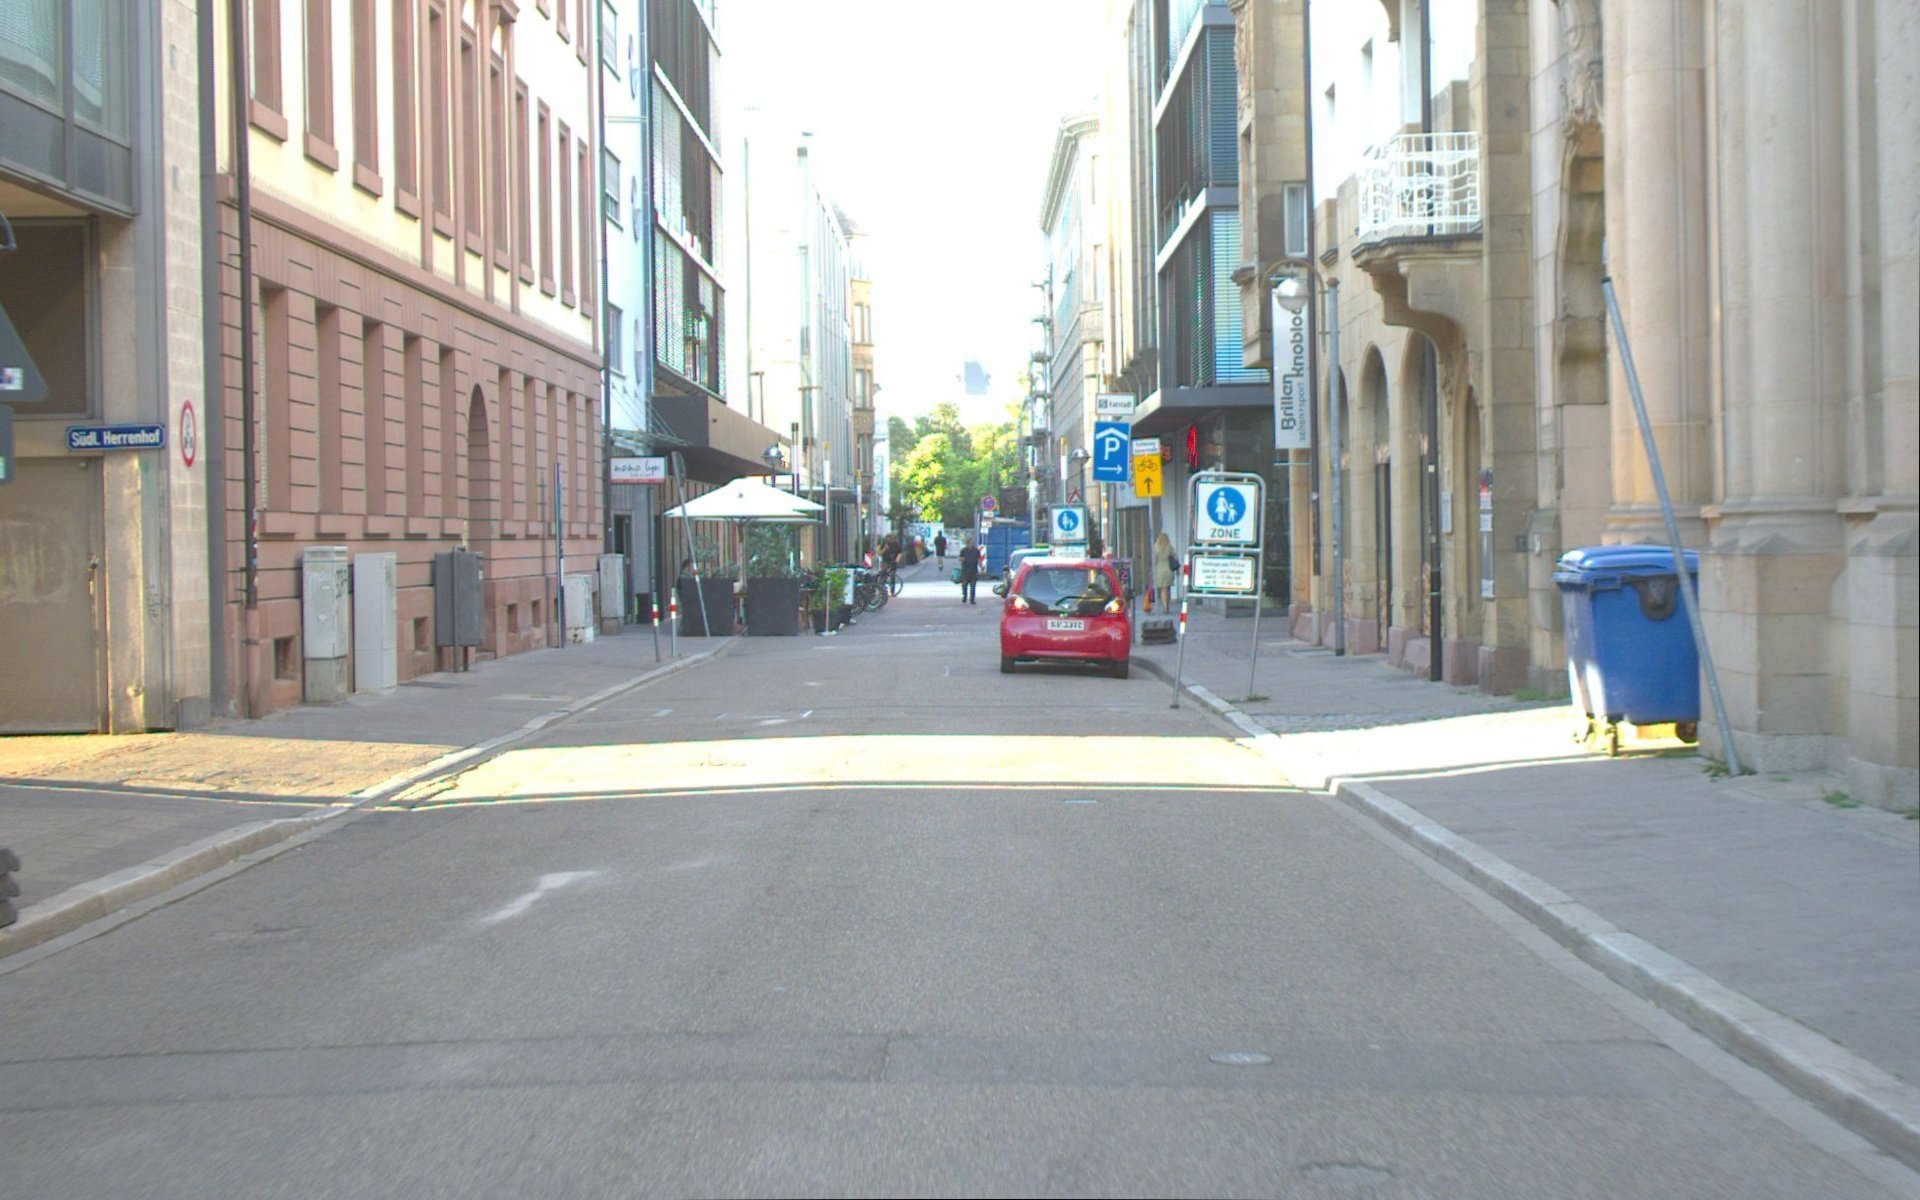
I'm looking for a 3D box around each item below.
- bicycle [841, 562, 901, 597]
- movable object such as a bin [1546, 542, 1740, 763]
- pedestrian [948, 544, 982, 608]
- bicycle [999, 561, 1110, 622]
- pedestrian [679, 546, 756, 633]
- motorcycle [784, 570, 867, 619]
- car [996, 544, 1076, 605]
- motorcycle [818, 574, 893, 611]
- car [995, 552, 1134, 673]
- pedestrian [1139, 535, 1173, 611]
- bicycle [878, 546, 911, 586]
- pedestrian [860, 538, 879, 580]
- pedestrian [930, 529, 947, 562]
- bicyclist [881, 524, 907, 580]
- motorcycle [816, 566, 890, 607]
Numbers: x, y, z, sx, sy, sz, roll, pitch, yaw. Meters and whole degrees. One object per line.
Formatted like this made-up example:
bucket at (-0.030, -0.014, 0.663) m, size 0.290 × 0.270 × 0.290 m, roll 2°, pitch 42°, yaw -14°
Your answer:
bicycle at (-2.348, -0.535, 90.661) m, size 1.518 × 0.893 × 0.485 m, roll -1°, pitch 1°, yaw -27°
movable object such as a bin at (4.491, 0.324, 22.676) m, size 0.990 × 1.387 × 1.241 m, roll -2°, pitch 1°, yaw 0°
pedestrian at (0.133, -0.657, 93.858) m, size 0.865 × 1.707 × 0.852 m, roll -1°, pitch 1°, yaw -1°
bicycle at (1.793, -0.166, 65.456) m, size 2.052 × 1.130 × 0.649 m, roll -1°, pitch 1°, yaw -3°
pedestrian at (-4.190, -0.183, 59.496) m, size 1.290 × 1.482 × 0.661 m, roll -1°, pitch 1°, yaw -2°
motorcycle at (-2.957, -0.120, 75.357) m, size 1.801 × 1.037 × 0.494 m, roll -1°, pitch 1°, yaw -4°
car at (2.034, -0.704, 93.065) m, size 1.993 × 1.605 × 4.000 m, roll -1°, pitch 1°, yaw -1°
motorcycle at (-2.540, -0.183, 83.566) m, size 1.801 × 0.872 × 0.560 m, roll -1°, pitch 1°, yaw -4°
car at (1.300, 0.126, 43.660) m, size 1.649 × 1.422 × 3.535 m, roll 2°, pitch 1°, yaw 1°
pedestrian at (3.869, -0.537, 67.790) m, size 0.656 × 1.482 × 0.493 m, roll -1°, pitch 1°, yaw 2°
bicycle at (-1.930, -1.013, 100.790) m, size 0.636 × 1.153 × 2.502 m, roll -1°, pitch 1°, yaw -9°
pedestrian at (-3.530, -1.596, 134.339) m, size 0.678 × 1.617 × 0.625 m, roll -1°, pitch 1°, yaw 2°
pedestrian at (-1.090, -2.752, 173.158) m, size 0.804 × 1.667 × 0.888 m, roll -1°, pitch 1°, yaw 2°
bicyclist at (-1.939, -1.403, 100.764) m, size 0.636 × 1.635 × 0.772 m, roll -1°, pitch 1°, yaw -9°
motorcycle at (-2.631, -0.332, 84.571) m, size 1.801 × 0.986 × 0.560 m, roll -1°, pitch 1°, yaw -4°
